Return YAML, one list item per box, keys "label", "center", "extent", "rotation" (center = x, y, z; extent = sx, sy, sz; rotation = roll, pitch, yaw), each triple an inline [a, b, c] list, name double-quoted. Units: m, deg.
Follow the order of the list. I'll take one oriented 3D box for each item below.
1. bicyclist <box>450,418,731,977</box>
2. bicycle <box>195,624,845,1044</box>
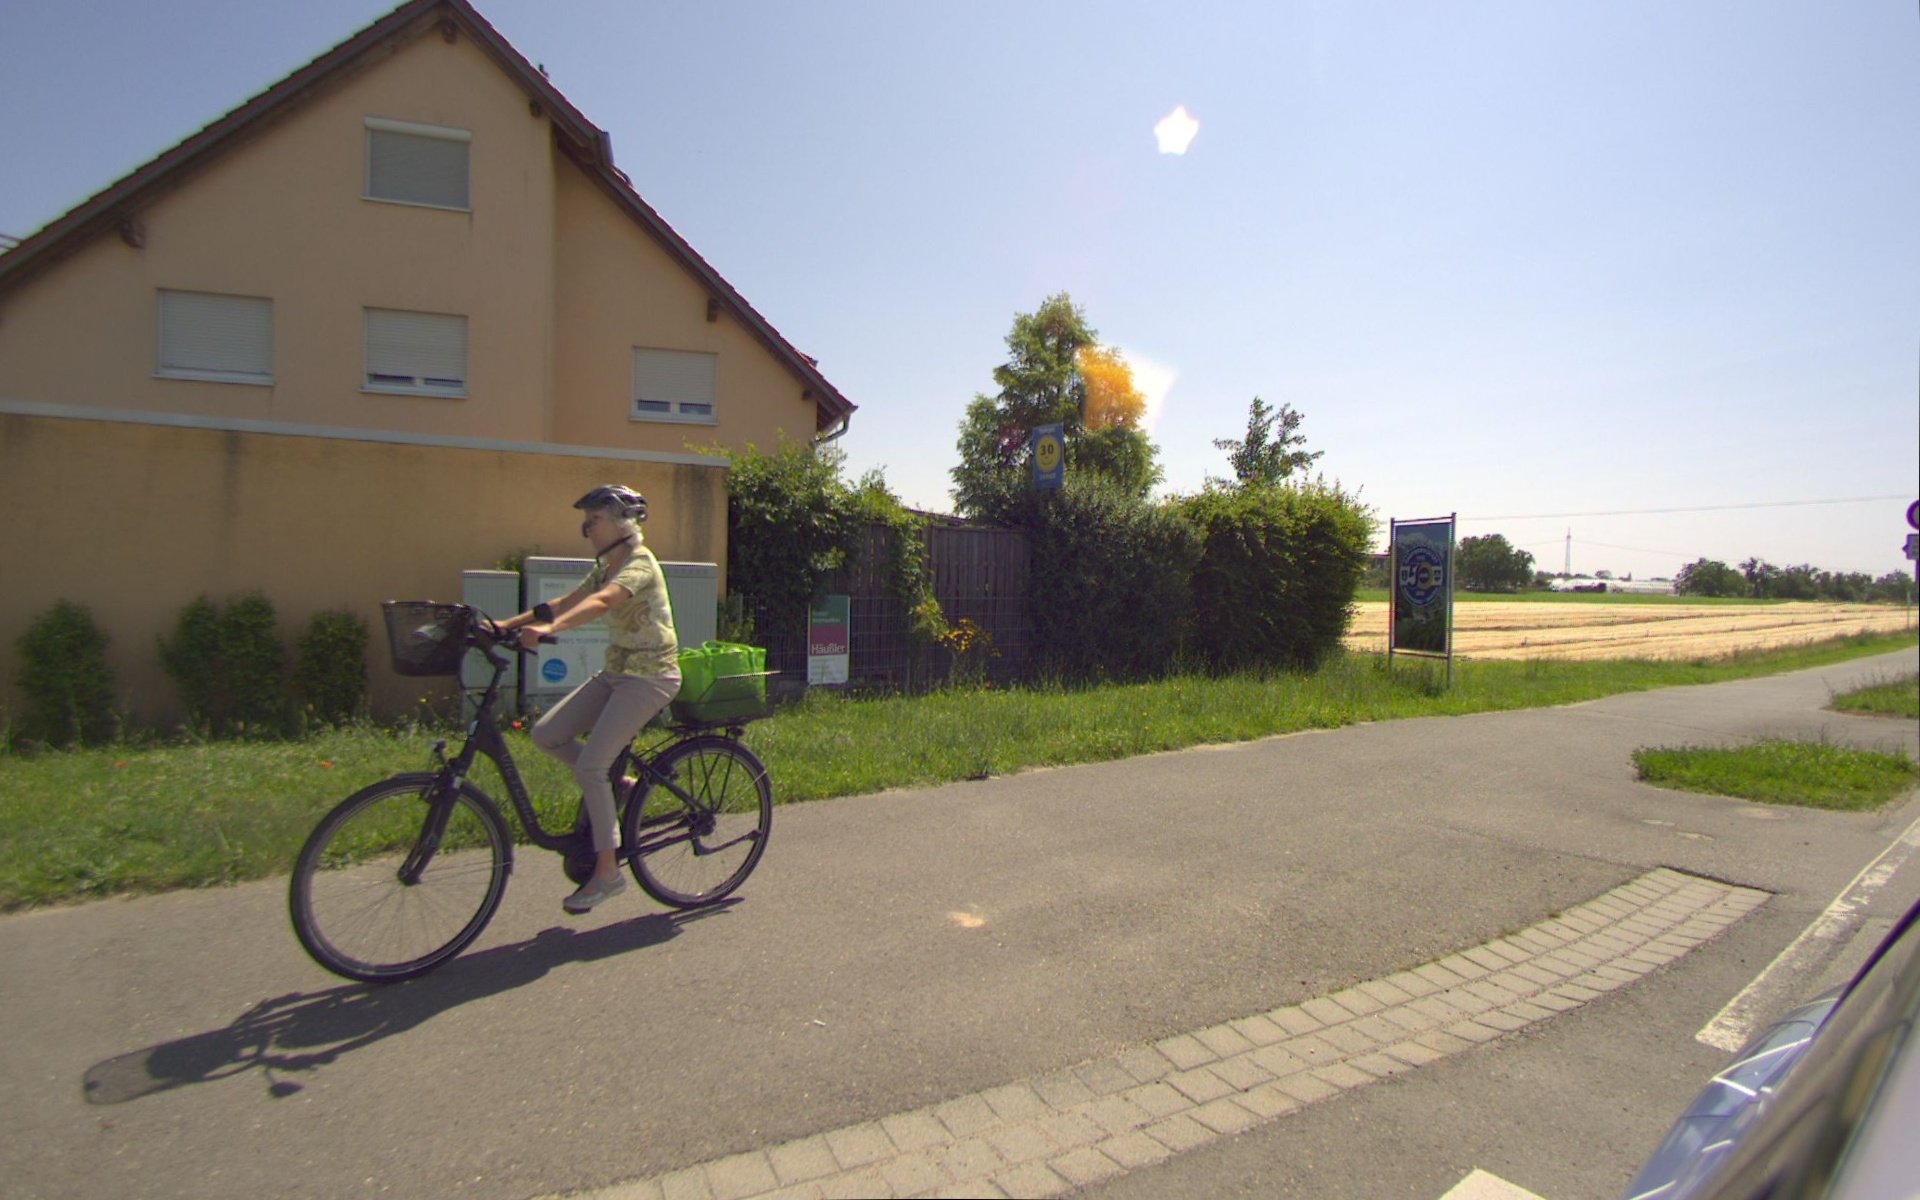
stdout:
- label: "bicyclist"
  center: [-1.452, 0.334, 3.997]
  extent: [0.846, 1.914, 0.646]
  rotation: [1, -1, -41]
- label: "bicycle"
  center: [-1.545, 0.706, 3.922]
  extent: [2.234, 1.173, 0.611]
  rotation: [0, 0, -41]
